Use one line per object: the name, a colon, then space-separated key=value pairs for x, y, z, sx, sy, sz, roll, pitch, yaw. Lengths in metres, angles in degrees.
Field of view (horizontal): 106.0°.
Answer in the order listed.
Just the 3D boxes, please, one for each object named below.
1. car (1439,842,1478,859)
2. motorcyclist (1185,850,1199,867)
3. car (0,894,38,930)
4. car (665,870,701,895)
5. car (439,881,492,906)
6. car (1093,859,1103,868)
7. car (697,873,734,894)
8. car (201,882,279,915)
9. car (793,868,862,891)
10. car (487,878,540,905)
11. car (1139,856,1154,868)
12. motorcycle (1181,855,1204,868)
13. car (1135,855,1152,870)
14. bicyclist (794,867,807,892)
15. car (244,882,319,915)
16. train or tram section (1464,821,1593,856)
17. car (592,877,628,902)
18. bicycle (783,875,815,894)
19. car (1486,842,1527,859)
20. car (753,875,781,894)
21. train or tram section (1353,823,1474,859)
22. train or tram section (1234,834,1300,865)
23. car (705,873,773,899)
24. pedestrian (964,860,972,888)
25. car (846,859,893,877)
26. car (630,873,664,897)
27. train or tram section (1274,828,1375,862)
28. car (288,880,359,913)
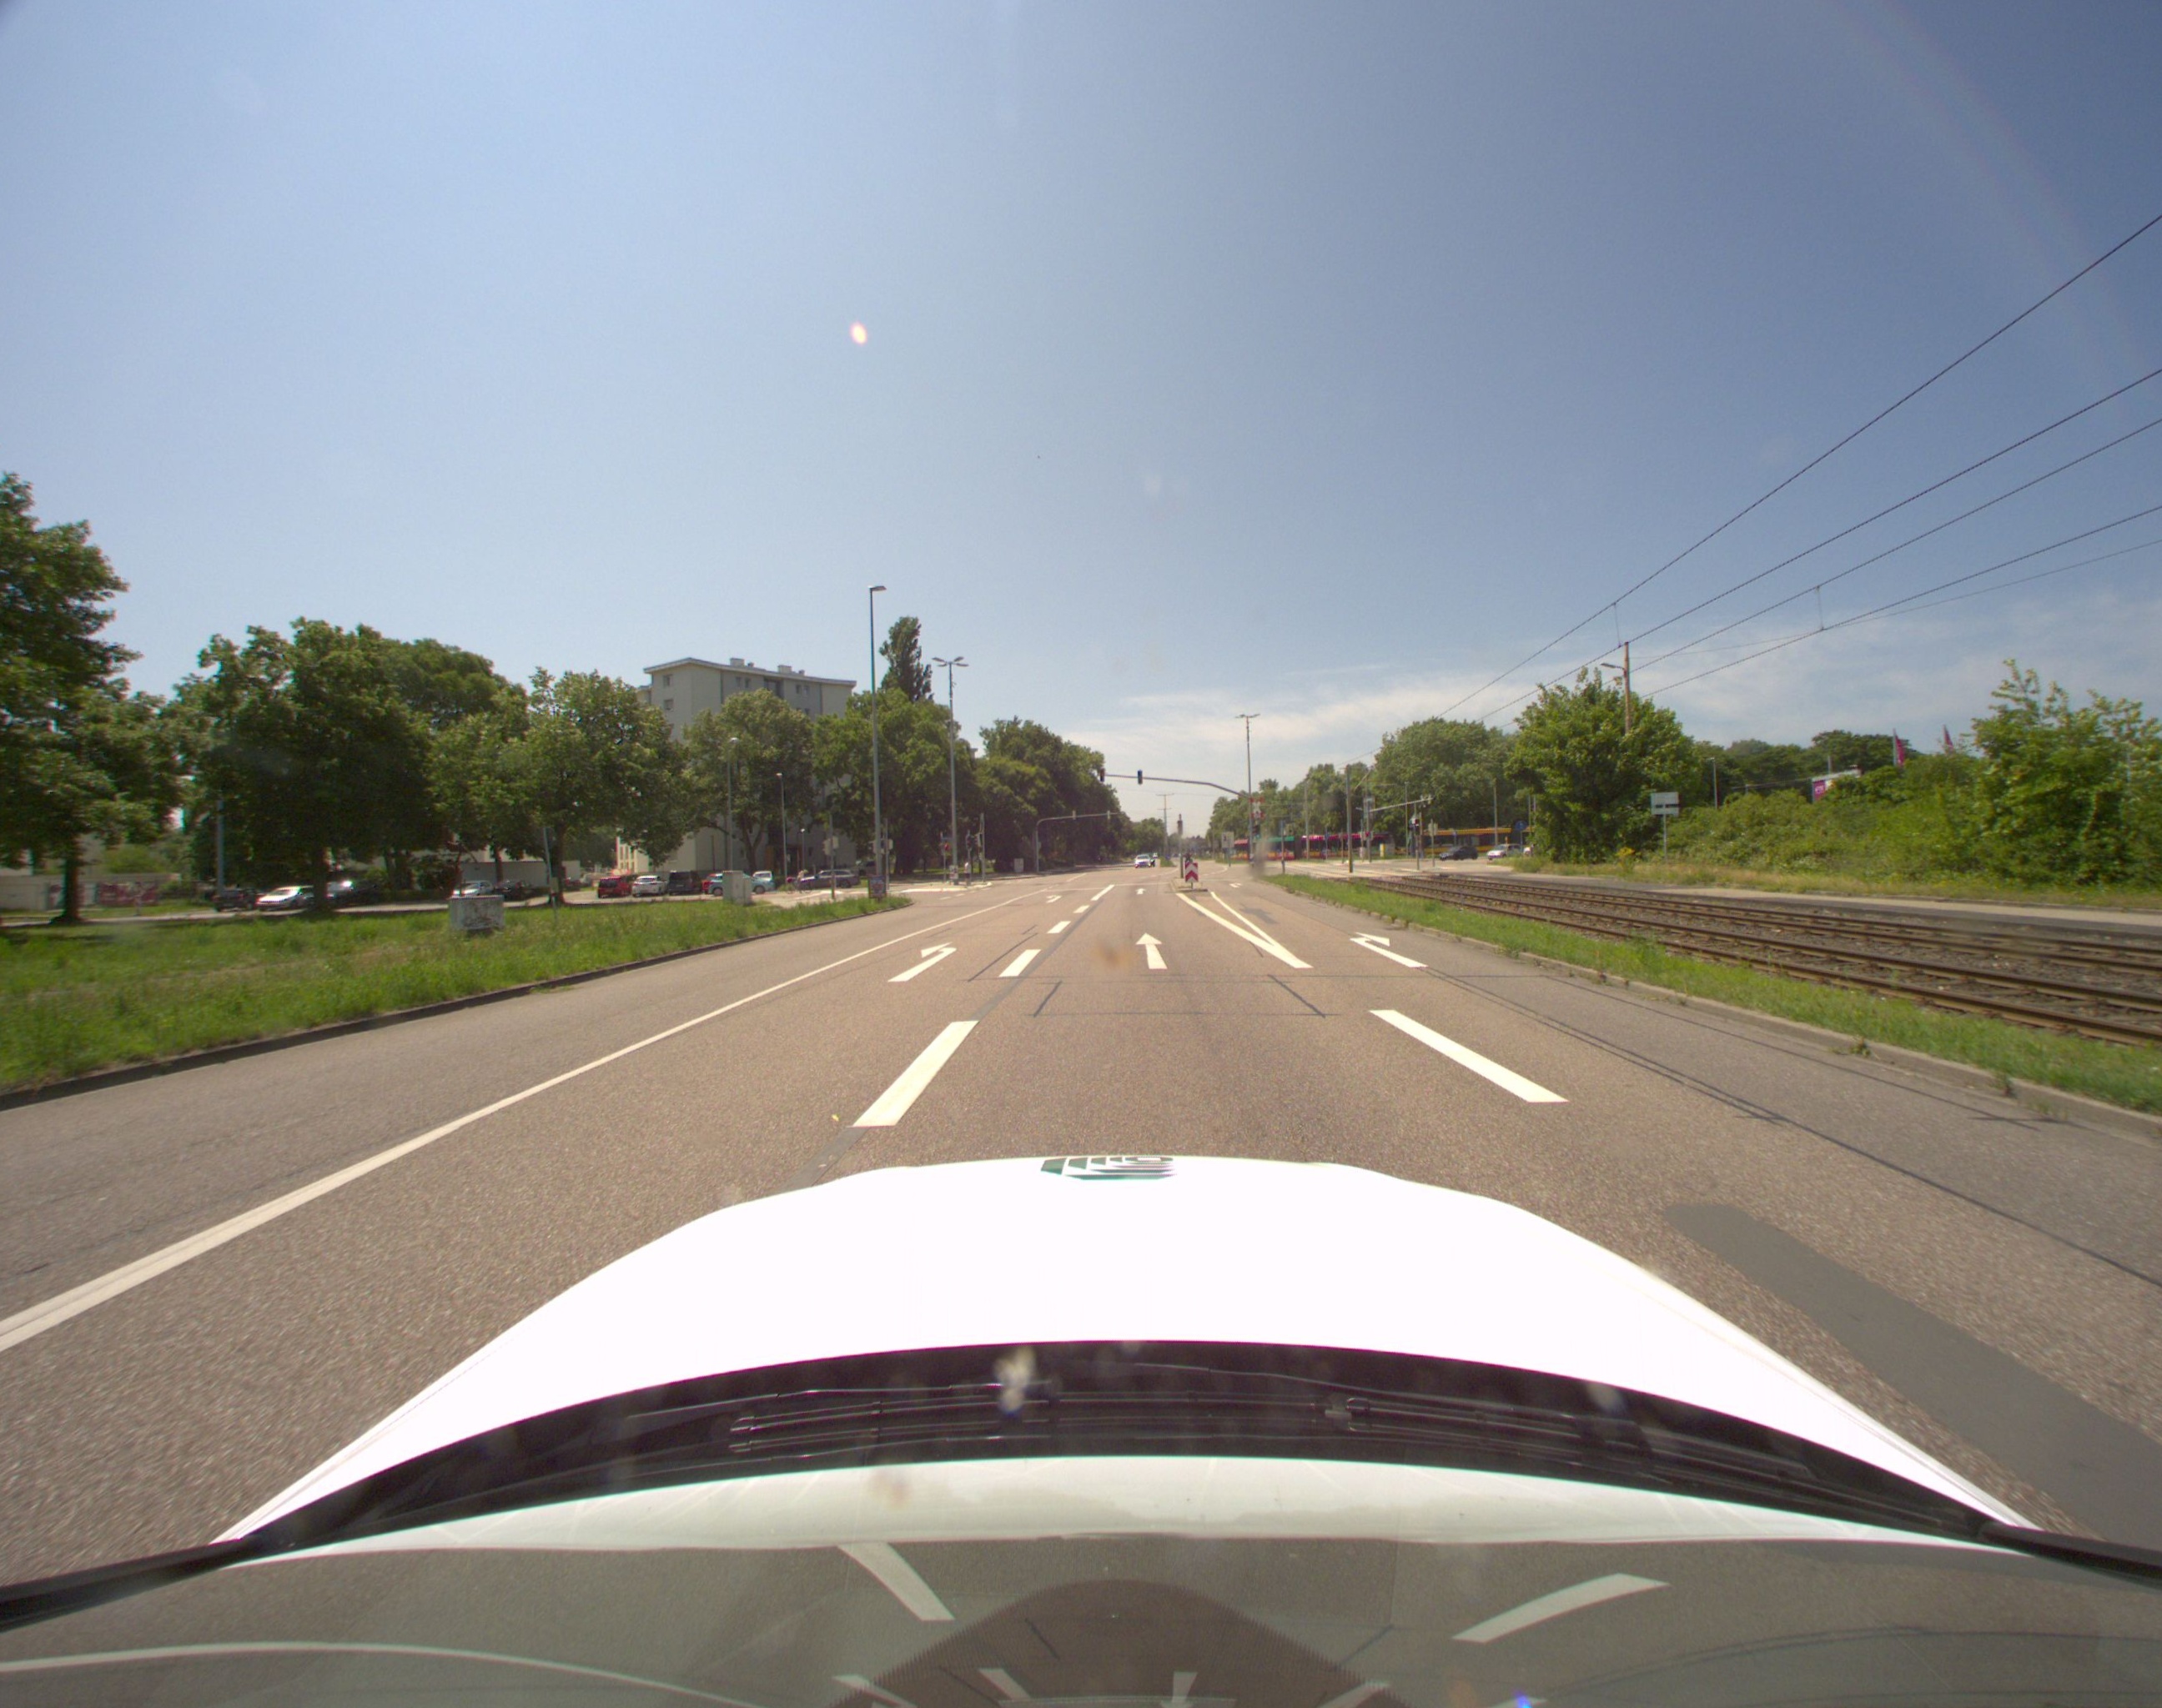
car: x=37.186 y=-0.339 z=80.165 sx=3.515 sy=1.463 sz=1.626 roll=-3 pitch=0 yaw=-26
motorcyclist: x=10.902 y=0.466 z=80.047 sx=1.217 sy=1.643 sz=0.783 roll=0 pitch=-1 yaw=-42
car: x=-47.845 y=2.586 z=34.176 sx=1.976 sy=1.467 sz=4.610 roll=-2 pitch=1 yaw=24
car: x=-30.001 y=2.124 z=61.477 sx=1.708 sy=1.801 sz=3.978 roll=-1 pitch=0 yaw=-16
car: x=-43.427 y=2.741 z=57.529 sx=1.692 sy=1.562 sz=3.817 roll=-2 pitch=0 yaw=-16
car: x=3.866 y=2.081 z=184.690 sx=1.985 sy=2.014 sz=4.003 roll=1 pitch=-1 yaw=3
car: x=-27.559 y=2.217 z=61.557 sx=1.618 sy=1.464 sz=3.986 roll=-1 pitch=0 yaw=-10
car: x=-55.706 y=2.899 z=54.027 sx=1.850 sy=1.948 sz=3.978 roll=-1 pitch=0 yaw=-16
car: x=-18.559 y=1.831 z=59.751 sx=4.620 sy=1.499 sz=1.904 roll=-2 pitch=0 yaw=-14
car: x=-40.829 y=2.649 z=58.690 sx=1.850 sy=1.711 sz=3.977 roll=-2 pitch=0 yaw=-16
car: x=8.114 y=0.926 z=100.655 sx=1.702 sy=1.365 sz=3.872 roll=-2 pitch=0 yaw=6
motorcycle: x=10.953 y=0.773 z=80.097 sx=2.462 sy=1.255 sz=0.839 roll=-1 pitch=-1 yaw=-42
car: x=7.162 y=0.919 z=93.223 sx=1.775 sy=1.629 sz=3.872 roll=-2 pitch=0 yaw=6
bicyclist: x=-17.897 y=1.635 z=51.945 sx=0.665 sy=1.537 sz=0.627 roll=-2 pitch=-1 yaw=-17
car: x=-53.070 y=2.940 z=54.143 sx=1.850 sy=1.948 sz=3.978 roll=-1 pitch=0 yaw=-16
train or tram section: x=54.779 y=-1.854 z=99.937 sx=13.854 sy=3.920 sz=2.926 roll=-1 pitch=-3 yaw=4
car: x=-34.673 y=2.577 z=60.009 sx=1.855 sy=1.668 sz=3.968 roll=-2 pitch=-1 yaw=-24
bicycle: x=-17.966 y=1.954 z=51.911 sx=1.868 sy=1.093 sz=0.642 roll=-2 pitch=0 yaw=-17
car: x=41.020 y=-0.344 z=78.532 sx=3.817 sy=1.463 sz=1.625 roll=-2 pitch=0 yaw=-29
car: x=-24.374 y=2.334 z=63.346 sx=1.627 sy=1.380 sz=3.979 roll=-1 pitch=0 yaw=-15
train or tram section: x=41.847 y=-1.521 z=103.071 sx=13.877 sy=3.920 sz=2.938 roll=-2 pitch=-3 yaw=21
train or tram section: x=27.009 y=-0.520 z=119.261 sx=2.924 sy=3.812 sz=12.982 roll=1 pitch=-3 yaw=-20
car: x=-22.266 y=2.082 z=53.157 sx=3.897 sy=1.469 sz=1.764 roll=-2 pitch=0 yaw=-19
pedestrian: x=-6.839 y=1.197 z=49.211 sx=0.380 sy=1.687 sz=0.486 roll=-2 pitch=0 yaw=2
car: x=-22.944 y=1.505 z=88.505 sx=4.575 sy=1.768 sz=1.769 roll=-2 pitch=-1 yaw=-44
car: x=-32.362 y=2.295 z=60.813 sx=1.710 sy=1.592 sz=3.972 roll=-1 pitch=0 yaw=-21
train or tram section: x=32.495 y=-1.058 z=109.506 sx=2.939 sy=3.812 sz=13.292 roll=2 pitch=-4 yaw=-42
car: x=-50.537 y=2.790 z=54.454 sx=1.850 sy=1.948 sz=3.978 roll=-1 pitch=0 yaw=-16
